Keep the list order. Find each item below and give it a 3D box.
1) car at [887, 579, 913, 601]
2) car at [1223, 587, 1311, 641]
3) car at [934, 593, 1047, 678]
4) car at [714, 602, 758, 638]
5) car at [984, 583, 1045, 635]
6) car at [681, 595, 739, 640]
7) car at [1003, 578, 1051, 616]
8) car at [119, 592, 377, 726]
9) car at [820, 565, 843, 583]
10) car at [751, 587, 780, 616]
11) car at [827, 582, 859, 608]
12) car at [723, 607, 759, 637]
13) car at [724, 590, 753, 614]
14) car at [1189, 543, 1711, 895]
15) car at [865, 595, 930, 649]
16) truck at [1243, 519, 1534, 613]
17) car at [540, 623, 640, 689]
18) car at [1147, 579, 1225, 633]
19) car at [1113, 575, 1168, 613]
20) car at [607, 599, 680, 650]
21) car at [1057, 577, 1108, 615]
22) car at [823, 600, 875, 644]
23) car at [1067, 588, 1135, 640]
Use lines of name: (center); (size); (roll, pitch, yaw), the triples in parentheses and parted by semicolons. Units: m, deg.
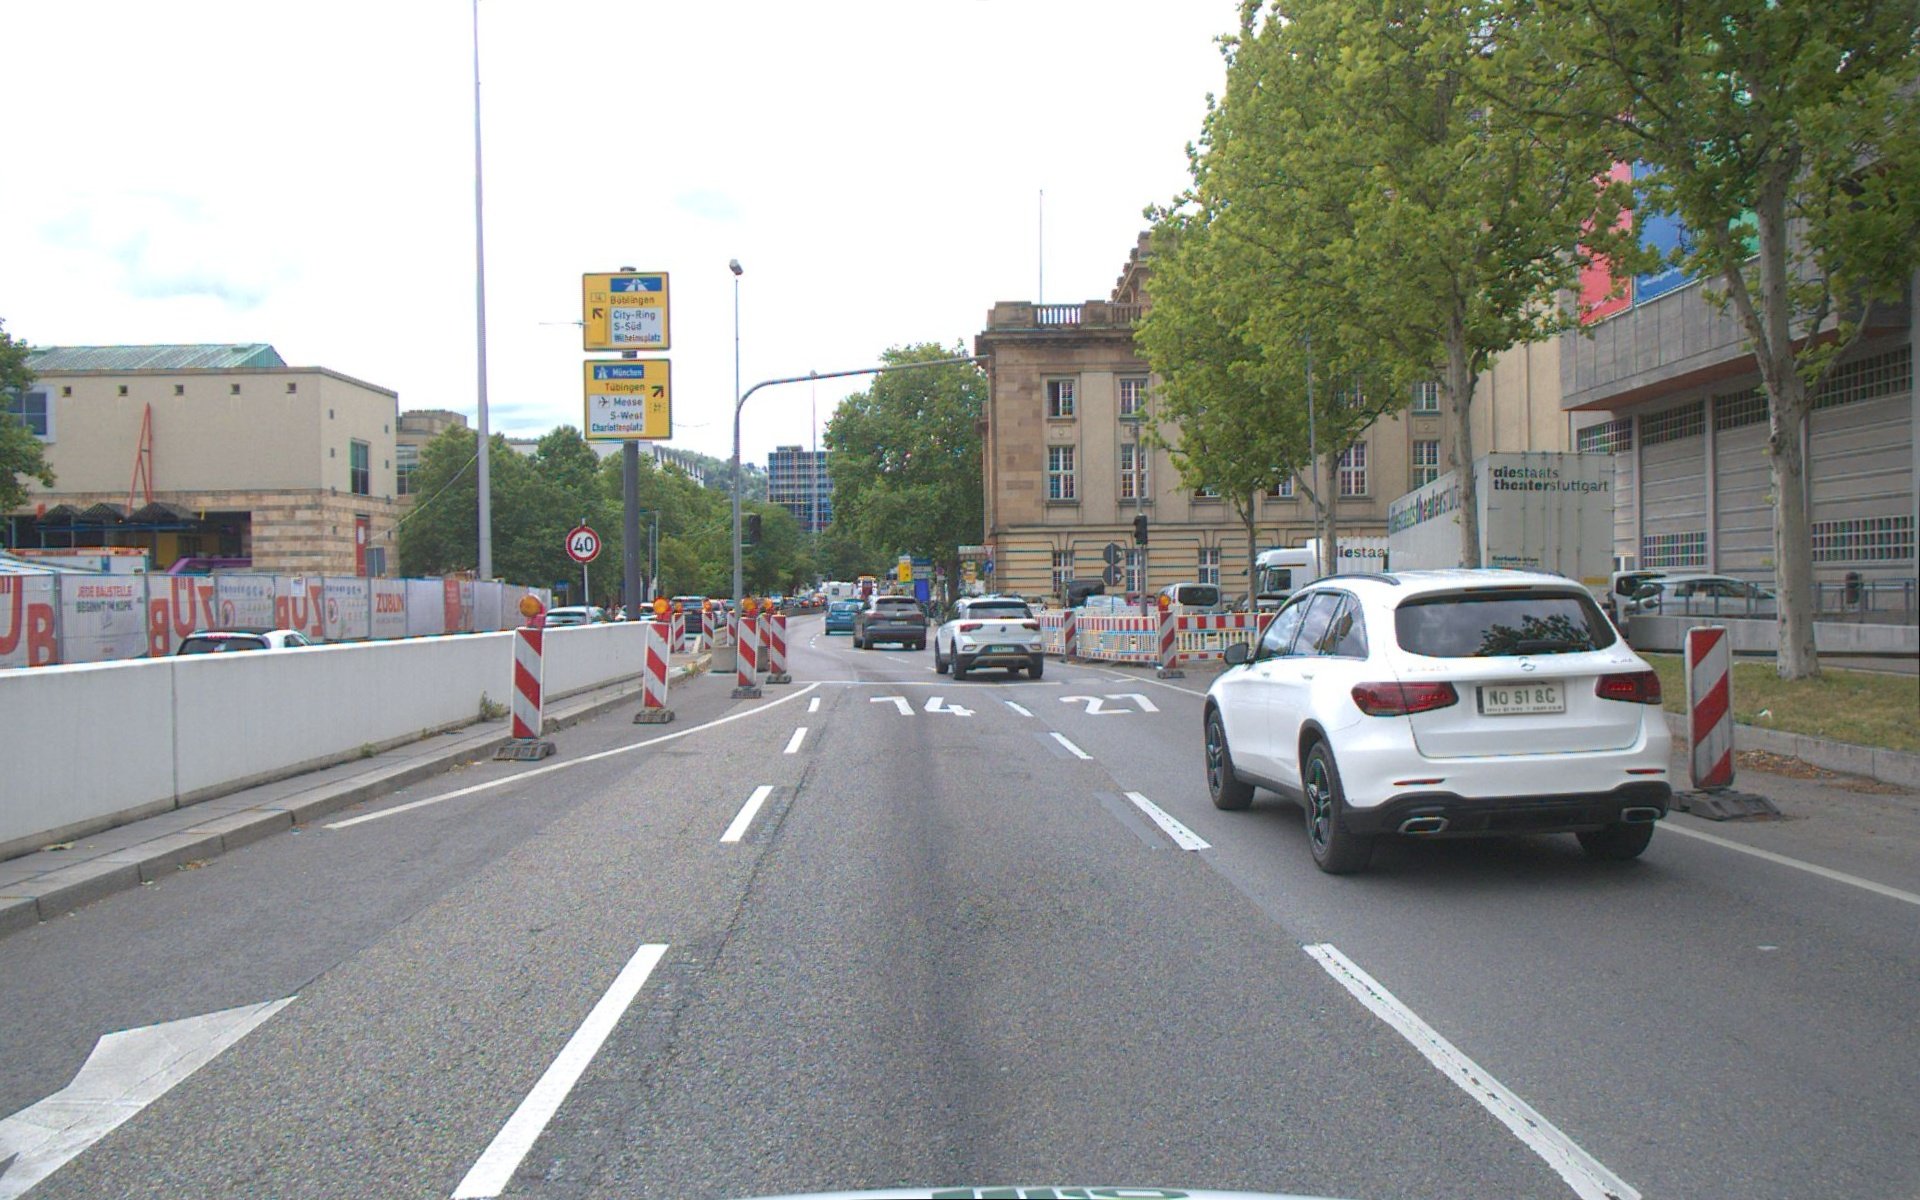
car: (-6.804, -1.172, 188.200); (2.528, 2.415, 5.528); (-2, 0, 3)
car: (9.506, 0.442, 51.527); (1.819, 1.595, 4.330); (-1, -1, -1)
car: (0.551, 0.700, 33.567); (1.717, 1.595, 4.325); (-1, -1, -7)
car: (-10.402, 0.921, 76.966); (1.716, 1.595, 4.327); (-1, 0, -4)
car: (1.711, 0.314, 53.529); (1.715, 1.595, 4.330); (-1, -1, -1)
car: (-9.780, 0.664, 64.918); (1.715, 1.595, 3.376); (-3, 0, -1)
car: (2.885, -0.091, 72.279); (1.819, 1.595, 4.330); (-1, -1, -1)
car: (-9.823, 0.754, 23.183); (1.953, 1.670, 3.998); (-1, 0, -2)
car: (-18.441, -3.690, 237.468); (2.528, 2.415, 5.528); (-2, 0, 3)
car: (-14.804, 0.125, 126.171); (1.954, 2.048, 3.997); (-1, 2, -5)
car: (-11.504, -0.495, 163.097); (2.528, 2.415, 5.528); (-2, 0, 3)
car: (-12.244, 1.195, 92.724); (1.716, 1.595, 4.327); (-1, 0, -5)
car: (-15.287, 0.138, 114.280); (1.716, 1.595, 4.327); (-1, 0, -4)
car: (2.817, 0.581, 10.696); (1.775, 1.671, 4.550); (-4, 1, -2)
car: (-2.006, 0.648, 52.224); (1.788, 1.595, 4.475); (1, 0, -5)
truck: (15.374, -1.205, 59.751); (9.826, 3.104, 2.568); (-1, -1, -1)
car: (-9.811, 1.458, 44.092); (1.715, 1.595, 4.330); (-1, 0, -1)
car: (7.003, 0.214, 51.650); (1.715, 1.595, 4.330); (-1, -1, -1)
car: (7.922, -0.233, 72.789); (1.819, 1.595, 4.330); (-1, -1, -1)
car: (-10.196, 0.759, 53.468); (1.715, 1.595, 3.376); (0, 0, -1)
car: (5.306, -0.140, 72.073); (1.819, 1.595, 4.330); (-1, -1, -1)
car: (-4.948, 0.956, 74.060); (1.785, 1.771, 4.481); (-2, 0, 3)
car: (4.566, 0.468, 54.011); (1.715, 1.595, 4.330); (-1, -1, -1)
